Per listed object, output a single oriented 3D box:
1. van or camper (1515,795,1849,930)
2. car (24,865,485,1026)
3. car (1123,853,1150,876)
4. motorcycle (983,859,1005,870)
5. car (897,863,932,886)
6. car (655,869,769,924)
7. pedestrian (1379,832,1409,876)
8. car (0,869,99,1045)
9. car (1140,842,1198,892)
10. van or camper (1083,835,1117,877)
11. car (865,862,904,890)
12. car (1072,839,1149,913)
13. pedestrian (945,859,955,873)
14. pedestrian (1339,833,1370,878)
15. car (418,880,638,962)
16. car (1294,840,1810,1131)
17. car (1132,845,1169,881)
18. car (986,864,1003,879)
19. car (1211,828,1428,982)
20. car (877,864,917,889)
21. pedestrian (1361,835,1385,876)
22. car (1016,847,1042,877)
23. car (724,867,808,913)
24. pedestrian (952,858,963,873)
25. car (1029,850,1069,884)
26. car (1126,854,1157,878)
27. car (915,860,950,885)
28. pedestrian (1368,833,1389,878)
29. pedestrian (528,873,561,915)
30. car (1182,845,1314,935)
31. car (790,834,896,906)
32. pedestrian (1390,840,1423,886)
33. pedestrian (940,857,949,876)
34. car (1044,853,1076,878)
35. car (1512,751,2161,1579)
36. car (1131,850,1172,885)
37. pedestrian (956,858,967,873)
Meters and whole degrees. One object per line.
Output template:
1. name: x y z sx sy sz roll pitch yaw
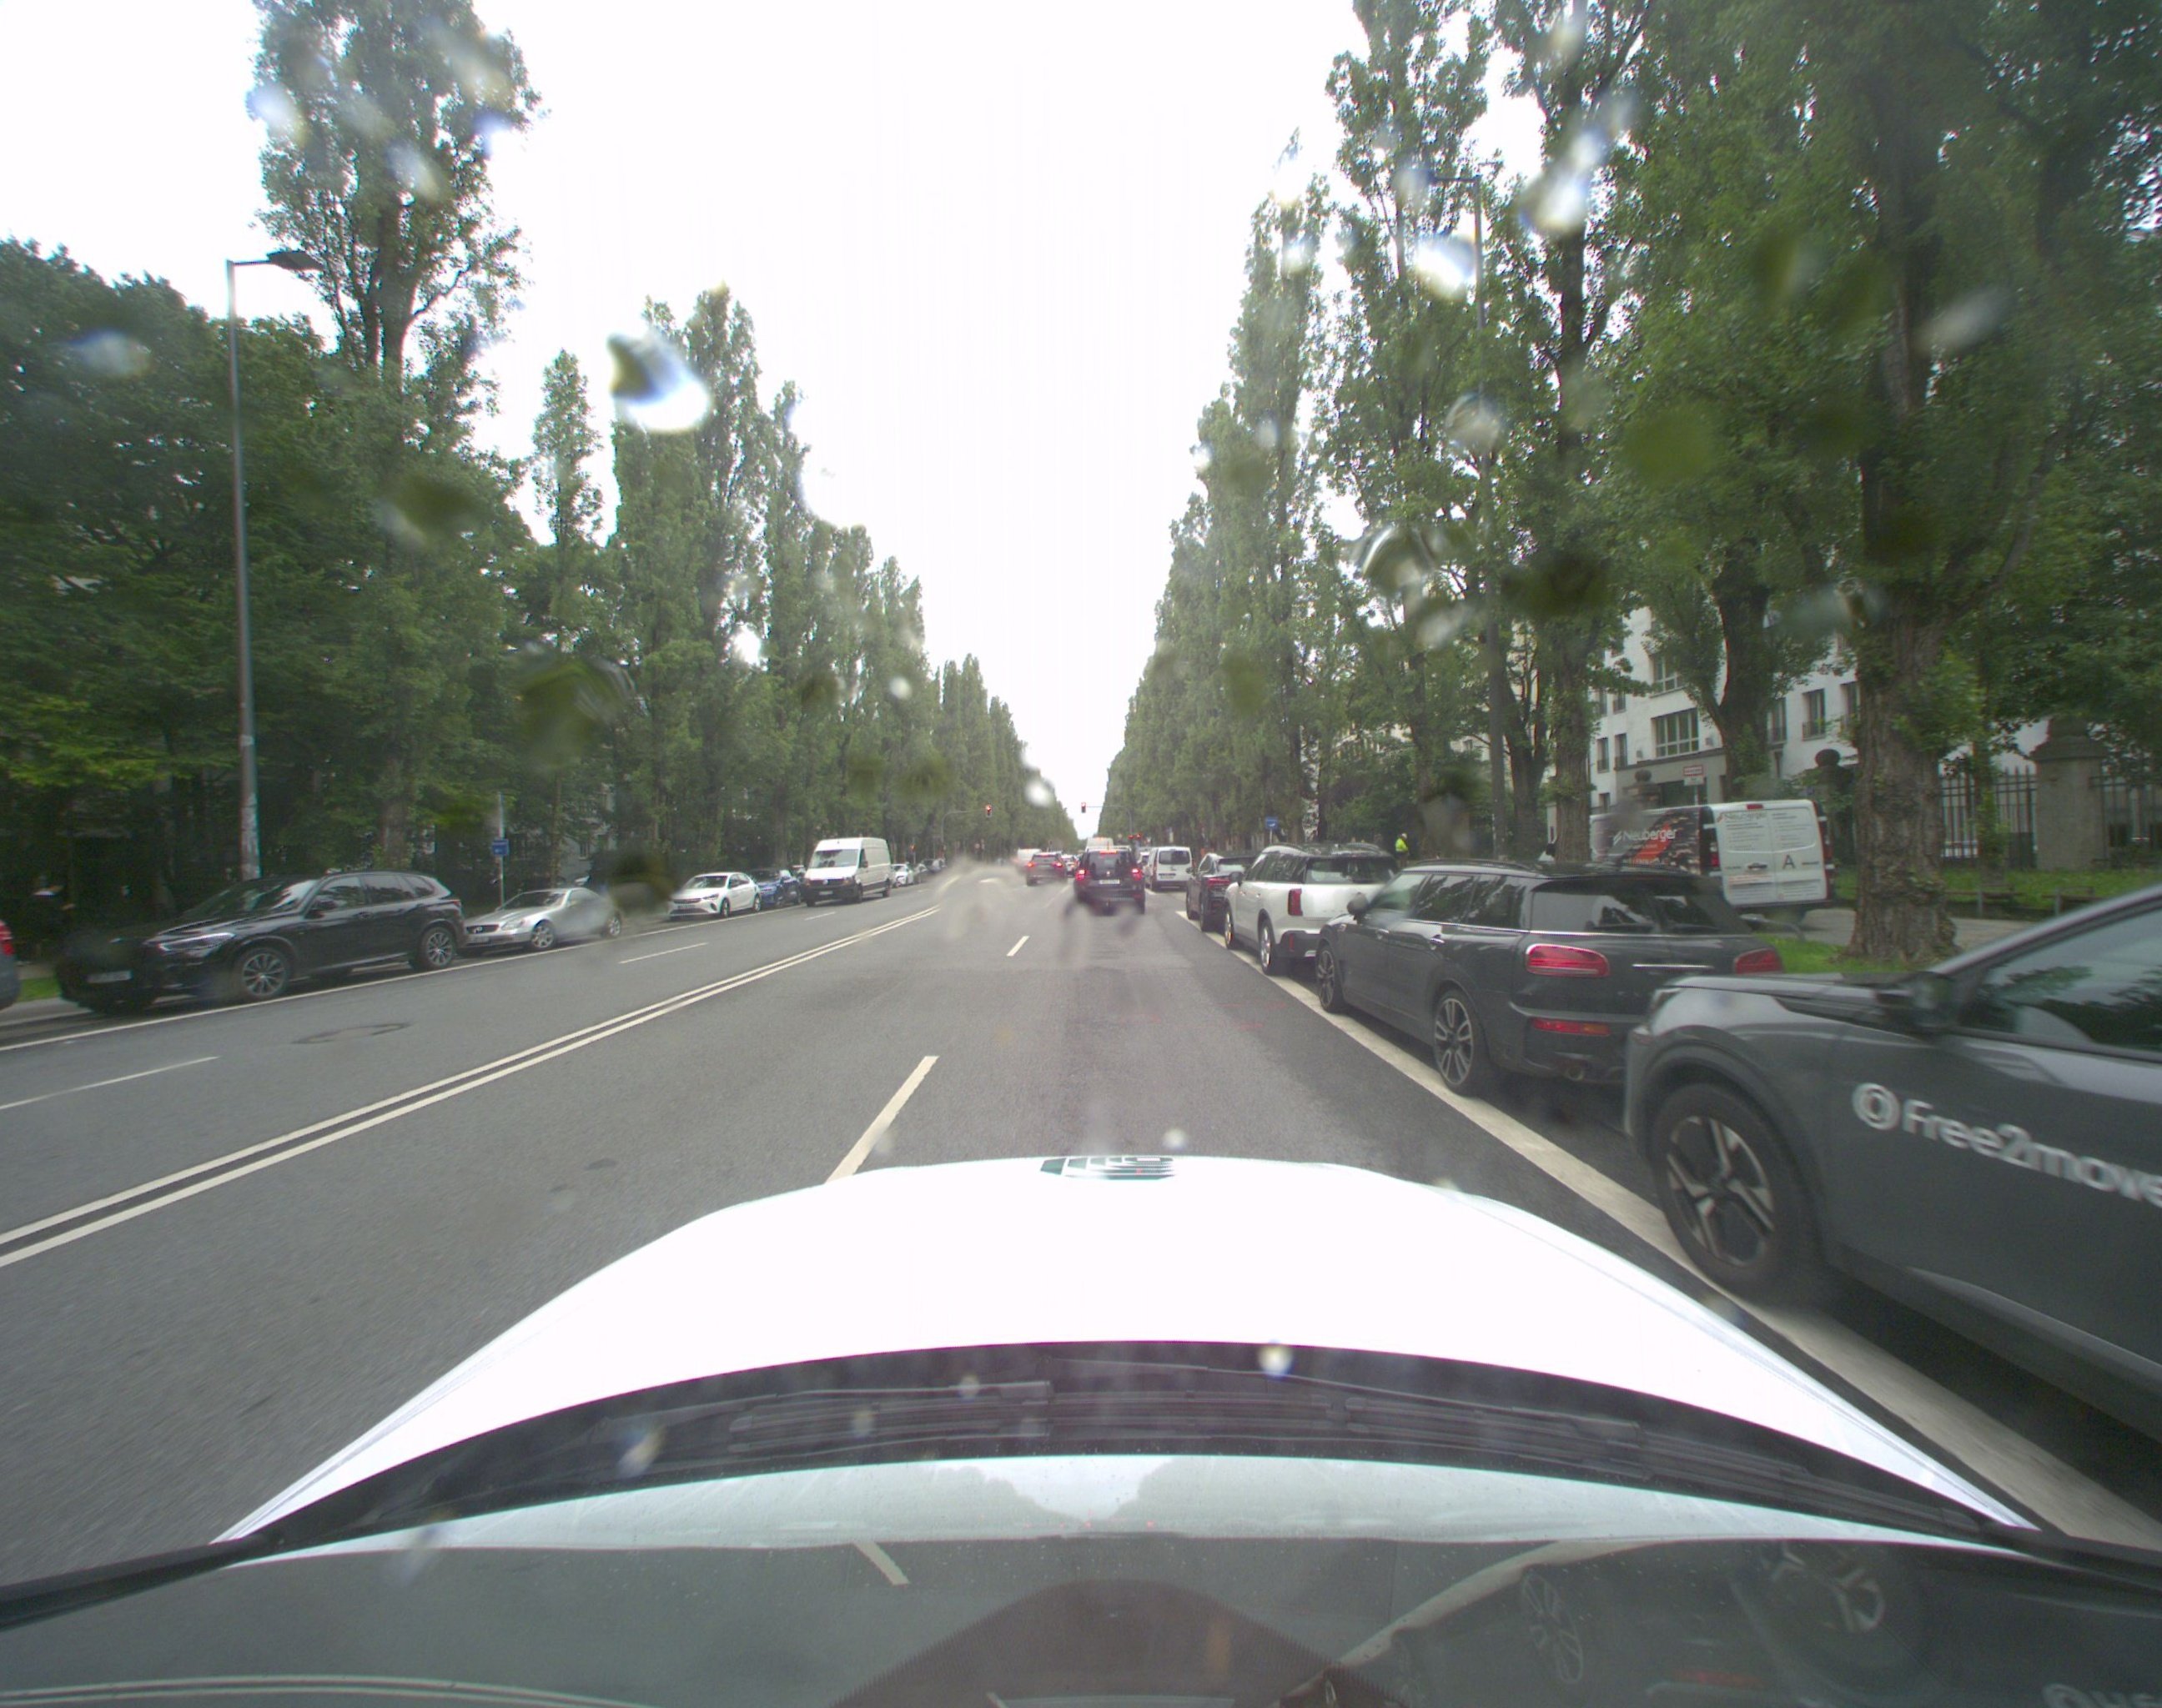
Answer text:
1. van or camper: 10.132 0.113 14.483 2.069 1.933 5.370 -1 0 1
2. car: -11.902 1.149 12.418 1.935 1.767 4.894 -4 0 0
3. car: 3.903 0.735 57.613 1.729 1.475 3.563 -2 0 1
4. motorcycle: -10.179 1.252 95.231 2.355 1.269 0.930 -2 0 1
5. car: -11.630 1.408 57.201 1.619 1.389 4.164 -4 0 -1
6. car: -11.976 1.328 26.764 1.765 1.452 4.232 -4 0 -1
7. pedestrian: 13.005 0.010 33.867 0.801 1.782 0.816 -2 0 -16
8. car: -12.067 1.133 6.545 1.903 1.789 5.180 -5 0 1
9. car: 3.580 0.509 33.754 1.846 1.881 4.166 -2 0 -1
10. van or camper: 1.197 0.143 52.605 1.969 2.548 4.023 -2 0 -1
11. car: -11.474 1.265 47.691 1.423 1.447 2.966 -5 0 0
12. car: 0.746 0.526 21.441 1.849 1.770 4.001 0 0 1
13. pedestrian: -15.410 1.444 95.799 0.887 1.655 0.868 -2 0 -37
14. pedestrian: 10.809 0.070 32.225 0.850 1.717 0.867 -3 0 0
15. car: -11.907 1.364 17.956 1.820 1.334 4.234 -4 0 0
16. car: 3.107 0.701 6.553 1.697 1.520 4.295 -2 0 1
17. car: 3.904 0.470 46.237 1.729 1.895 4.025 -2 0 1
18. car: -11.017 2.243 103.698 1.682 1.783 3.775 -2 0 1
19. car: 3.063 0.564 11.486 1.737 1.675 4.580 -2 0 1
20. car: -11.619 1.379 51.644 1.619 1.389 4.163 -4 0 -2
21. pedestrian: 11.562 0.050 32.270 0.566 1.578 0.867 -2 0 0
22. car: -3.824 0.603 60.418 1.777 2.111 4.021 -2 0 -2
23. car: -11.829 1.296 30.840 1.704 1.451 3.585 -5 0 -1
24. pedestrian: -14.388 1.350 94.899 0.887 1.655 0.868 -2 0 -37
25. car: -1.609 0.640 41.691 1.775 1.620 4.025 -1 0 1
26. car: 3.820 0.756 52.107 1.729 1.387 3.563 -2 0 1
27. car: -11.476 1.400 63.150 1.844 1.654 4.693 -4 0 -1
28. pedestrian: 12.649 0.055 34.589 0.487 1.862 0.635 -2 0 -16
29. pedestrian: -21.368 1.581 32.450 0.734 1.599 0.881 -1 -1 2
30. car: 3.247 0.631 16.751 1.873 1.540 4.466 -2 0 1
31. car: -9.358 0.574 32.759 2.221 2.483 6.755 -4 0 -1
32. pedestrian: 13.251 0.362 33.197 0.905 1.800 0.825 -3 2 -20
33. pedestrian: -11.692 1.036 69.672 0.658 1.577 0.530 -2 0 1
34. car: -1.384 0.747 55.586 1.987 1.560 4.000 -2 0 0
35. car: 2.979 0.581 1.656 1.777 1.618 4.638 -2 0 1
36. car: 3.497 0.628 40.963 1.735 1.593 4.212 -2 0 1
37. pedestrian: -13.866 1.335 94.174 0.887 1.655 0.868 -2 0 -37
